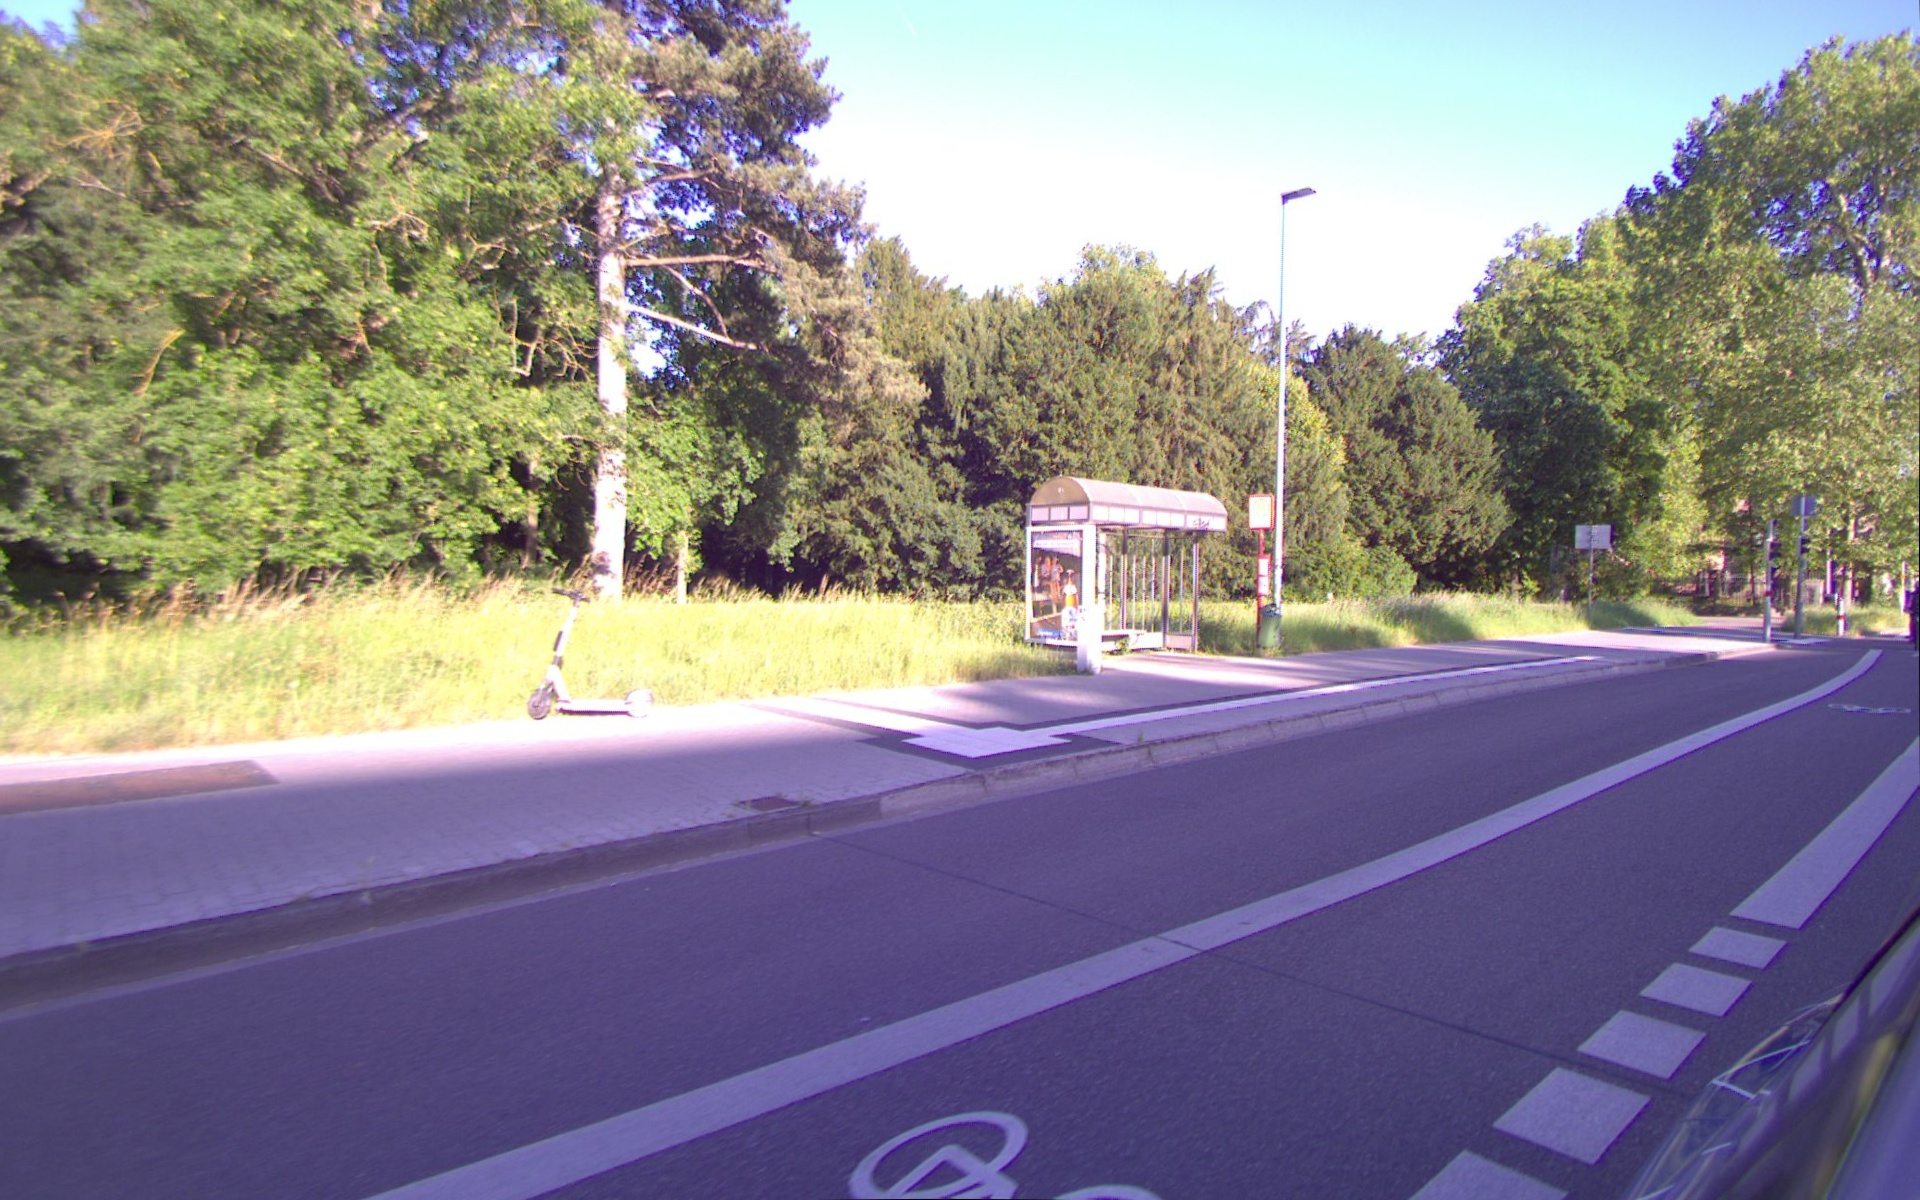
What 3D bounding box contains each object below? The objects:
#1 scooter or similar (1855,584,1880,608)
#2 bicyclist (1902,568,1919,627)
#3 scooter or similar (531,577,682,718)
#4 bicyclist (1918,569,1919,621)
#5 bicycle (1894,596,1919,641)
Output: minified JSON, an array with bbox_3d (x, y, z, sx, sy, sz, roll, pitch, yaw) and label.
[{"bbox_3d":[51.600,-0.223,57.536,1.806,1.270,0.794,-1,6,-44],"label":"scooter or similar"},{"bbox_3d":[25.092,-0.065,26.278,0.785,1.509,0.696,0,1,-32],"label":"bicyclist"},{"bbox_3d":[-3.371,0.426,9.686,1.300,1.263,0.726,1,1,-20],"label":"scooter or similar"},{"bbox_3d":[28.650,-0.147,29.734,0.693,1.520,0.878,2,2,44],"label":"bicyclist"},{"bbox_3d":[25.109,0.464,26.301,2.094,1.109,0.696,0,2,-32],"label":"bicycle"}]
